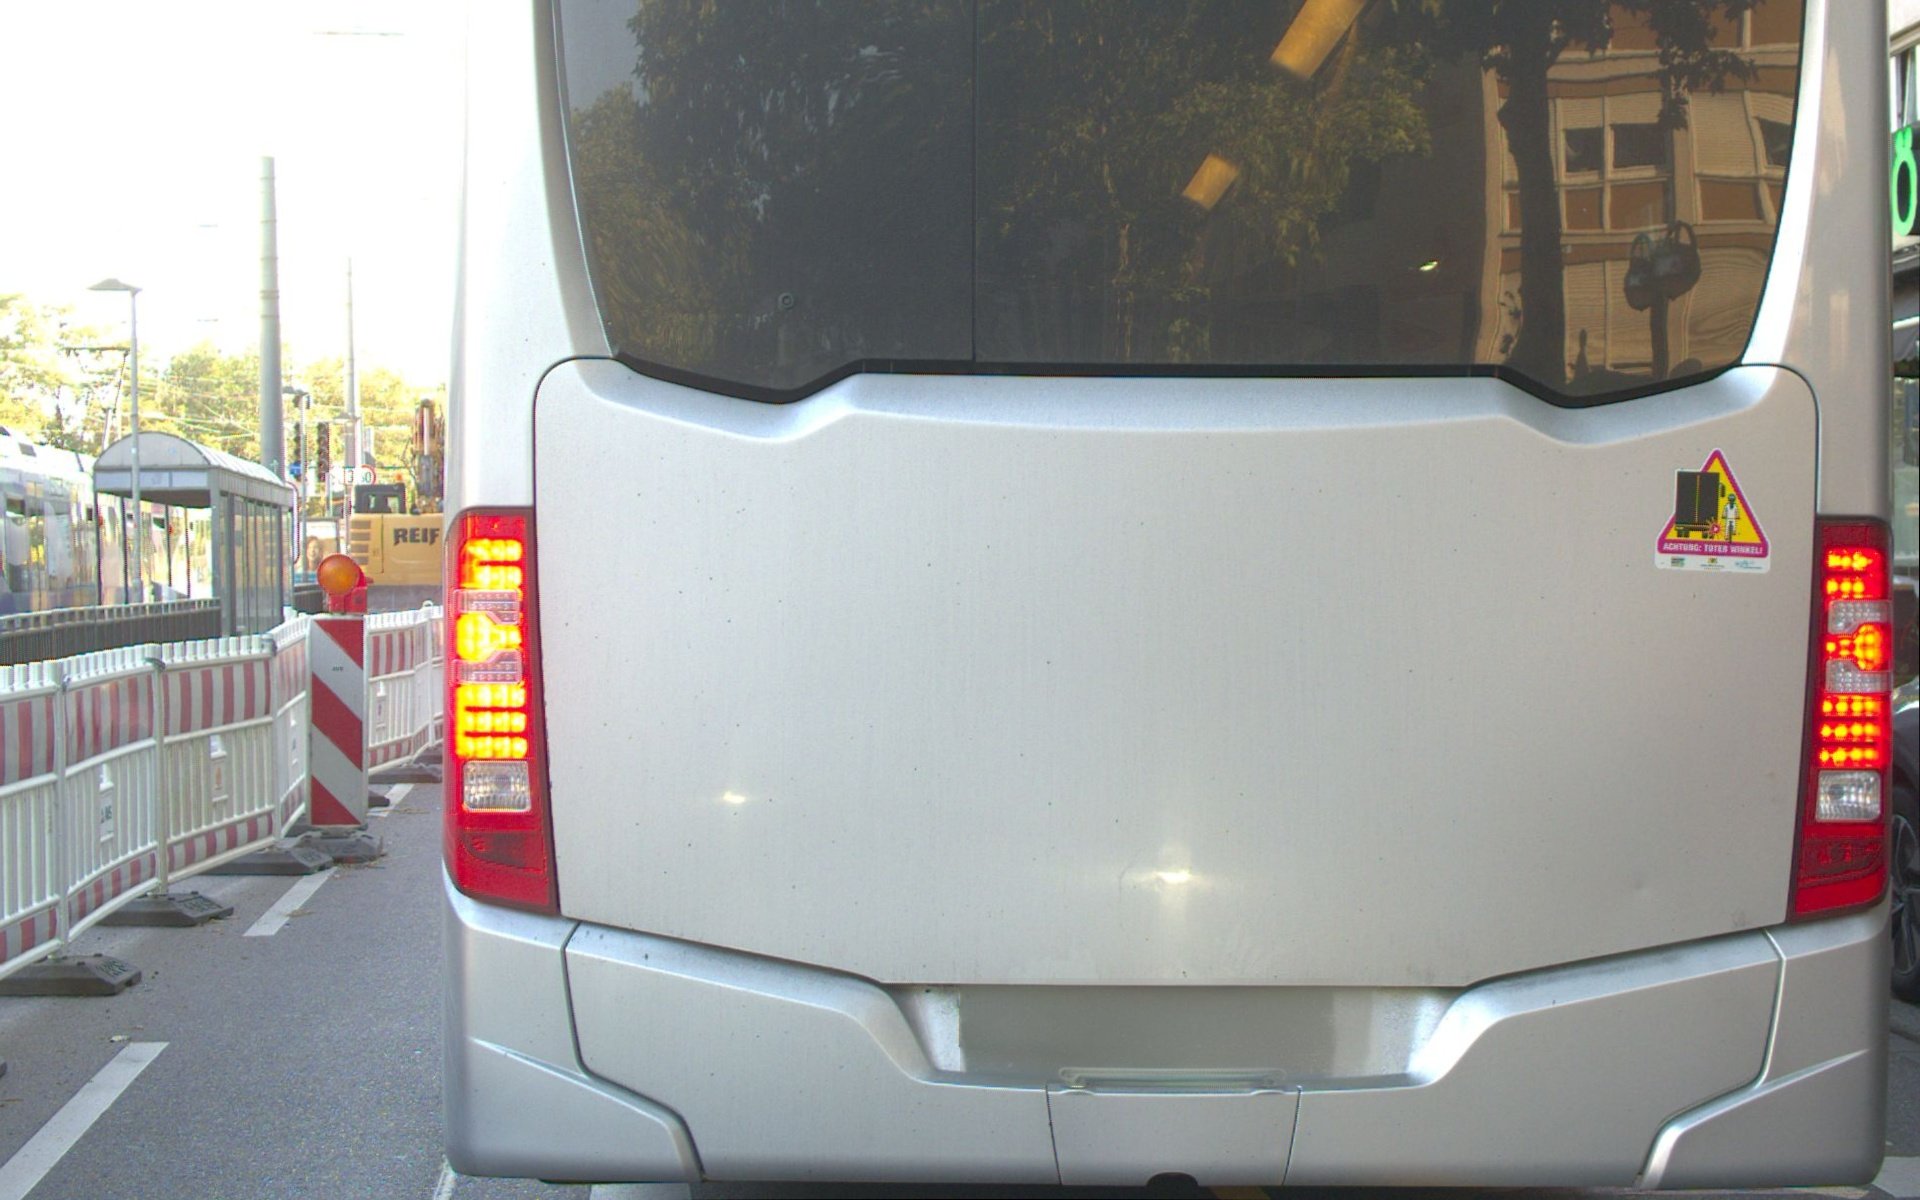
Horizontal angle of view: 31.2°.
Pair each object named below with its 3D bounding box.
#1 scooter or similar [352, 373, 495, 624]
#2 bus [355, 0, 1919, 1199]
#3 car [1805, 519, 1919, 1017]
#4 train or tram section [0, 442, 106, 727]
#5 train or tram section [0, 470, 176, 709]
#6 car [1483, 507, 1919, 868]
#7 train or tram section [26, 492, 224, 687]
[{"bbox_3d":[-9.982,-1.856,64.399,2.468,4.455,5.974,-1,1,-8],"label":"scooter or similar"},{"bbox_3d":[0.305,-0.202,9.574,2.611,3.115,7.993,1,1,-1],"label":"bus"},{"bbox_3d":[4.139,0.521,9.794,1.993,1.576,4.369,-3,1,-5],"label":"car"},{"bbox_3d":[-13.506,-0.235,45.339,2.686,3.521,11.774,1,1,-6],"label":"train or tram section"},{"bbox_3d":[-14.891,-0.219,56.893,2.686,3.546,11.585,1,1,-8],"label":"train or tram section"},{"bbox_3d":[4.274,0.347,17.986,1.993,1.576,4.369,-3,1,-5],"label":"car"},{"bbox_3d":[-16.433,-0.247,68.378,2.686,3.521,11.585,1,1,-8],"label":"train or tram section"}]
